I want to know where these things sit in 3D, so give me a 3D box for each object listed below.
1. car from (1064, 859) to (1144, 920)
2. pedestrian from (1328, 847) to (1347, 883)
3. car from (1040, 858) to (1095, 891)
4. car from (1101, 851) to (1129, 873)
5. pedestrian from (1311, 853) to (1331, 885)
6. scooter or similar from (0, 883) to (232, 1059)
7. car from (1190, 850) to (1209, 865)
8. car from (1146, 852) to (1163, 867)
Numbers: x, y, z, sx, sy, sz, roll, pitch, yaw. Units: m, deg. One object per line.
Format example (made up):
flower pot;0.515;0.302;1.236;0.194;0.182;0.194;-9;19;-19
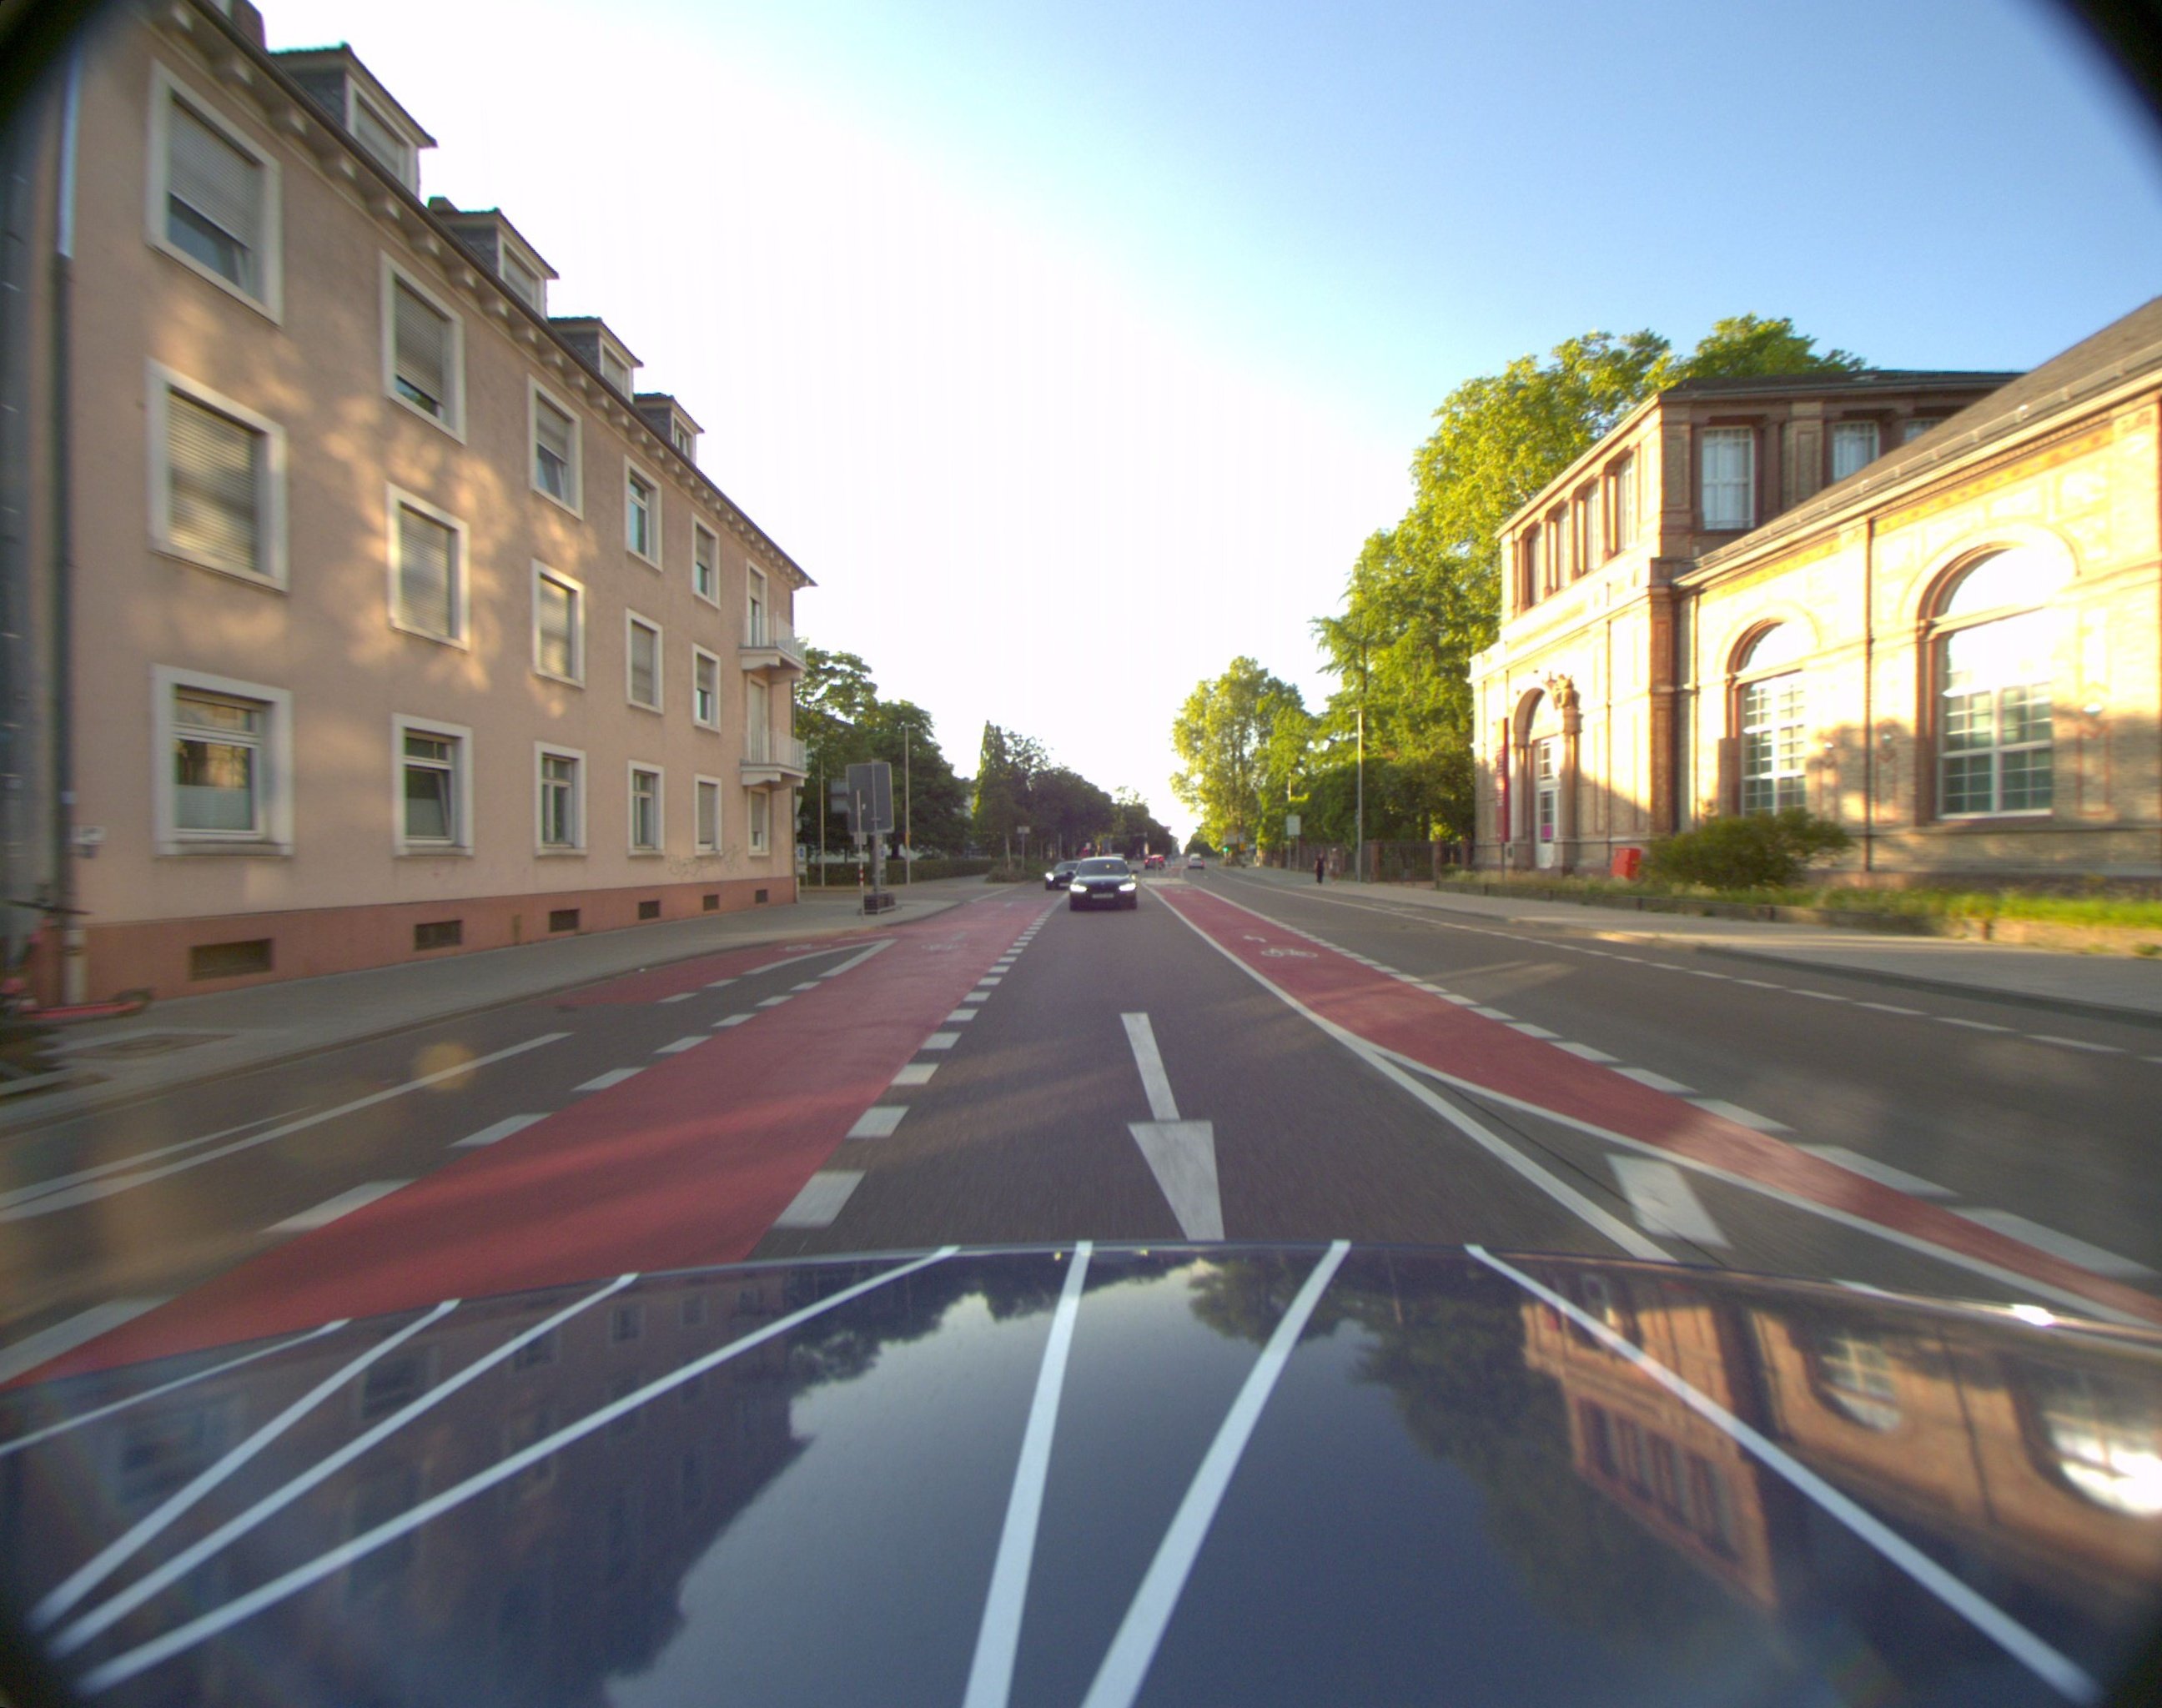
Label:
car;0.671;0.910;21.361;1.964;1.379;4.781;-1;1;2
pedestrian;12.461;0.539;36.890;0.807;1.728;0.851;0;1;25
car;-0.568;0.905;35.605;2.183;1.293;4.358;-2;0;4
car;2.814;0.625;63.963;1.839;1.674;4.221;-2;1;-4
pedestrian;11.726;0.712;37.122;0.675;1.504;0.836;-5;-1;9
scooter or similar;-9.632;1.049;7.397;0.726;1.450;1.673;2;1;10
car;13.530;0.385;86.903;1.920;1.674;4.002;-1;0;7
car;7.955;0.582;82.753;1.775;1.455;4.001;1;0;5
